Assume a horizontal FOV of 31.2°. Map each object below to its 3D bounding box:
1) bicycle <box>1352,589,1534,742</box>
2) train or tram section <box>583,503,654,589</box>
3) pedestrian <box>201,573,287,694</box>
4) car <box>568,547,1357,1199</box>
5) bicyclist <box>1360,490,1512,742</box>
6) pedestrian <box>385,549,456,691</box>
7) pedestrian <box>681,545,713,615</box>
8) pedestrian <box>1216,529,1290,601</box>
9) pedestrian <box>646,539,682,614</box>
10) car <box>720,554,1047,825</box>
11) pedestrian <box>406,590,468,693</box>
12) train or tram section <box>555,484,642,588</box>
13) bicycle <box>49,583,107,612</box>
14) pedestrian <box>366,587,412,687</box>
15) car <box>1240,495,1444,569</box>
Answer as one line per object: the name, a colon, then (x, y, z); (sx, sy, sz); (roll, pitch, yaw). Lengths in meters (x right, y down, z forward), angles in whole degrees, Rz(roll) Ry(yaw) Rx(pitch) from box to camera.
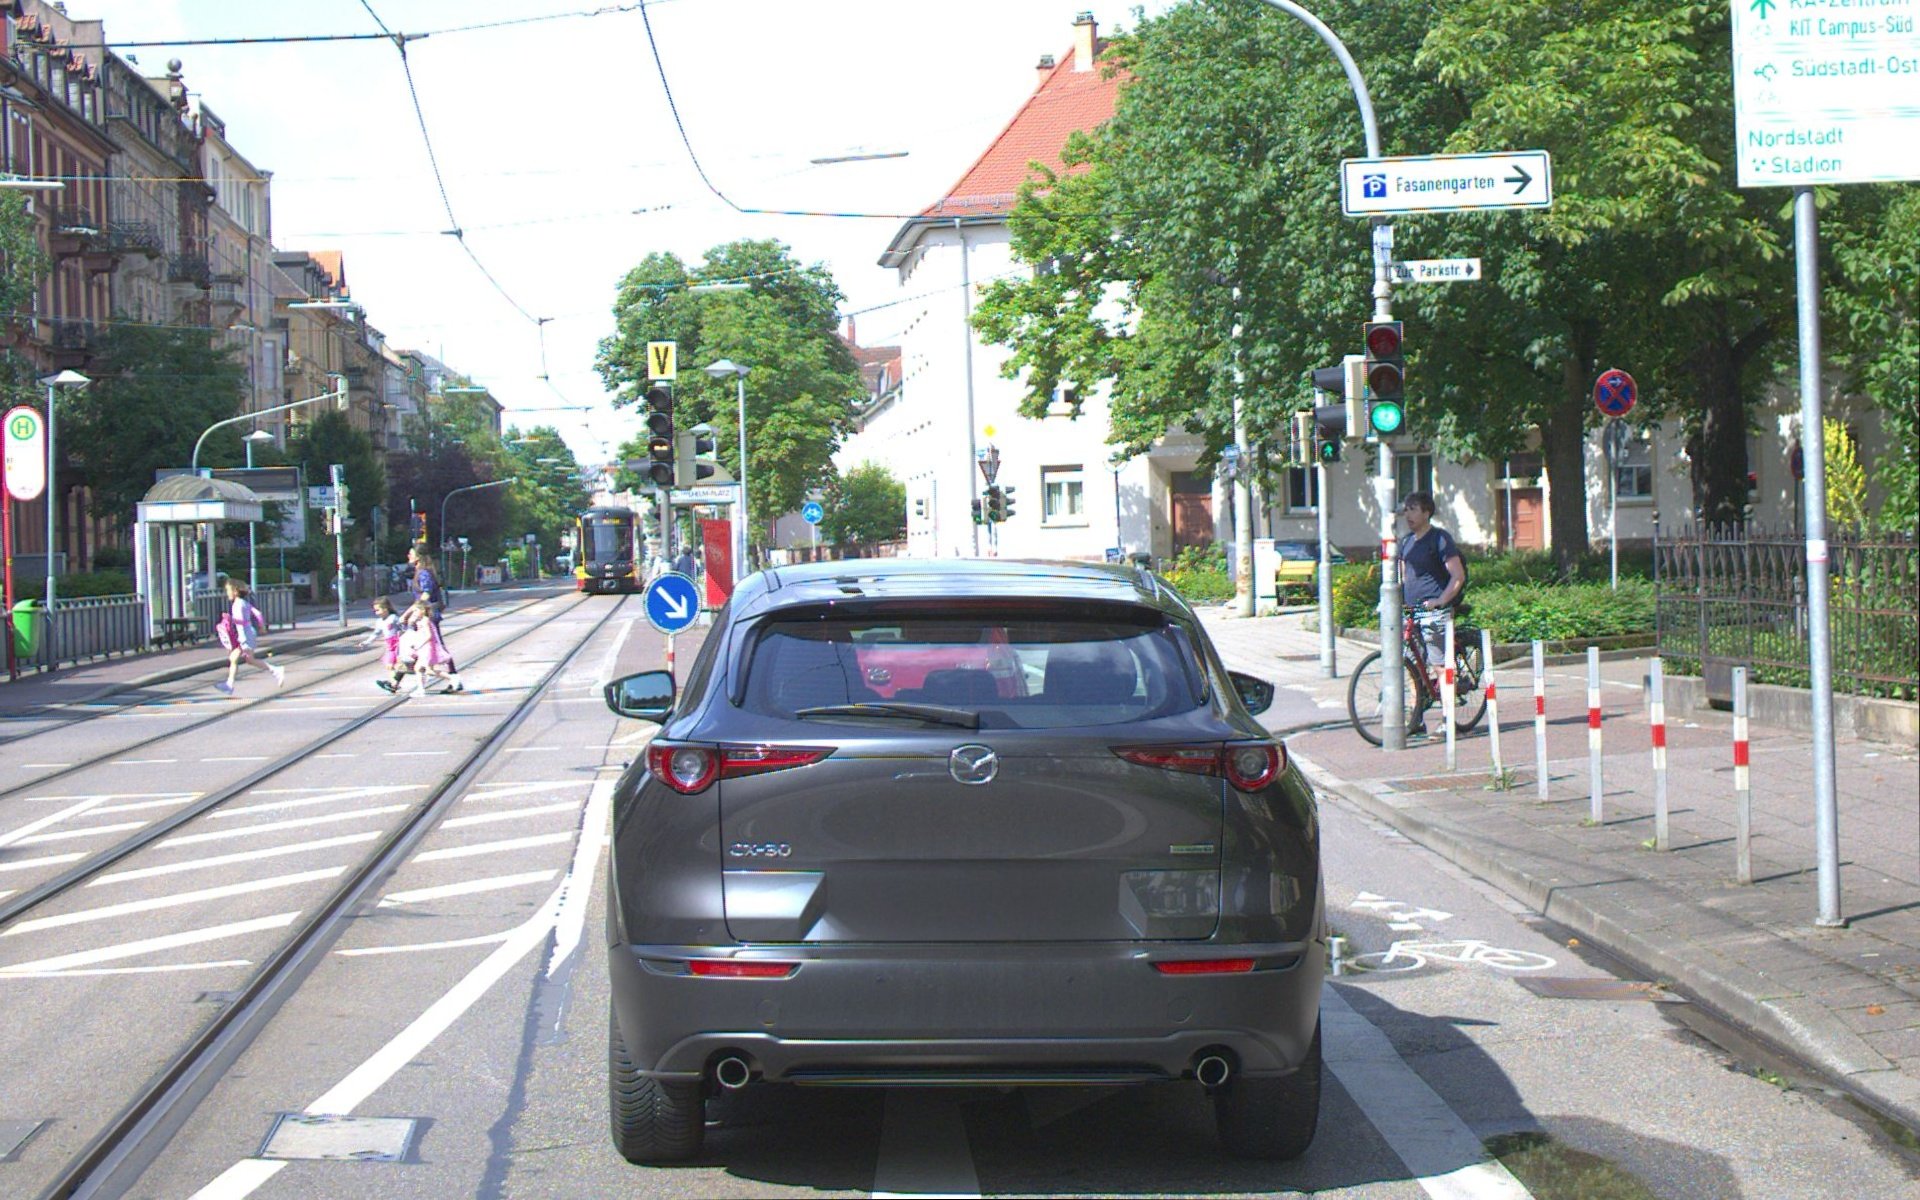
bicycle: (3.609, 0.473, 25.566); (0.389, 1.032, 1.841); (-1, 2, 40)
train or tram section: (-16.883, -2.616, 170.687); (2.997, 3.970, 13.811); (-2, 0, -4)
pedestrian: (-8.080, 0.368, 38.825); (0.825, 1.299, 0.717); (-4, 1, -9)
car: (-0.012, 0.624, 9.832); (1.782, 1.509, 4.000); (1, 1, 0)
bicyclist: (3.519, 0.108, 25.425); (0.733, 1.813, 0.820); (-2, 1, -27)
pedestrian: (-6.056, 0.220, 38.591); (0.728, 1.560, 0.799); (-2, 1, -9)
pedestrian: (-5.828, -0.444, 76.152); (0.667, 1.540, 0.581); (-2, 1, -5)
pedestrian: (5.468, -0.647, 64.173); (1.192, 1.264, 0.558); (-4, 1, -9)
pedestrian: (-6.771, -0.542, 78.565); (0.770, 1.669, 0.668); (-2, 1, -5)
car: (-0.452, 0.461, 20.575); (1.775, 1.459, 3.843); (0, 1, -1)
pedestrian: (-5.778, 0.458, 37.996); (0.641, 1.110, 0.444); (-2, 1, -9)
train or tram section: (-14.959, -2.562, 143.165); (2.997, 3.970, 13.811); (-2, 0, -4)
bicycle: (-23.809, -0.071, 92.779); (0.386, 0.745, 1.708); (-1, 1, 32)
pedestrian: (-6.513, 0.417, 39.236); (0.437, 1.104, 0.423); (-4, 1, -9)
car: (8.598, -1.523, 77.487); (4.167, 1.504, 1.848); (-1, 3, 38)
